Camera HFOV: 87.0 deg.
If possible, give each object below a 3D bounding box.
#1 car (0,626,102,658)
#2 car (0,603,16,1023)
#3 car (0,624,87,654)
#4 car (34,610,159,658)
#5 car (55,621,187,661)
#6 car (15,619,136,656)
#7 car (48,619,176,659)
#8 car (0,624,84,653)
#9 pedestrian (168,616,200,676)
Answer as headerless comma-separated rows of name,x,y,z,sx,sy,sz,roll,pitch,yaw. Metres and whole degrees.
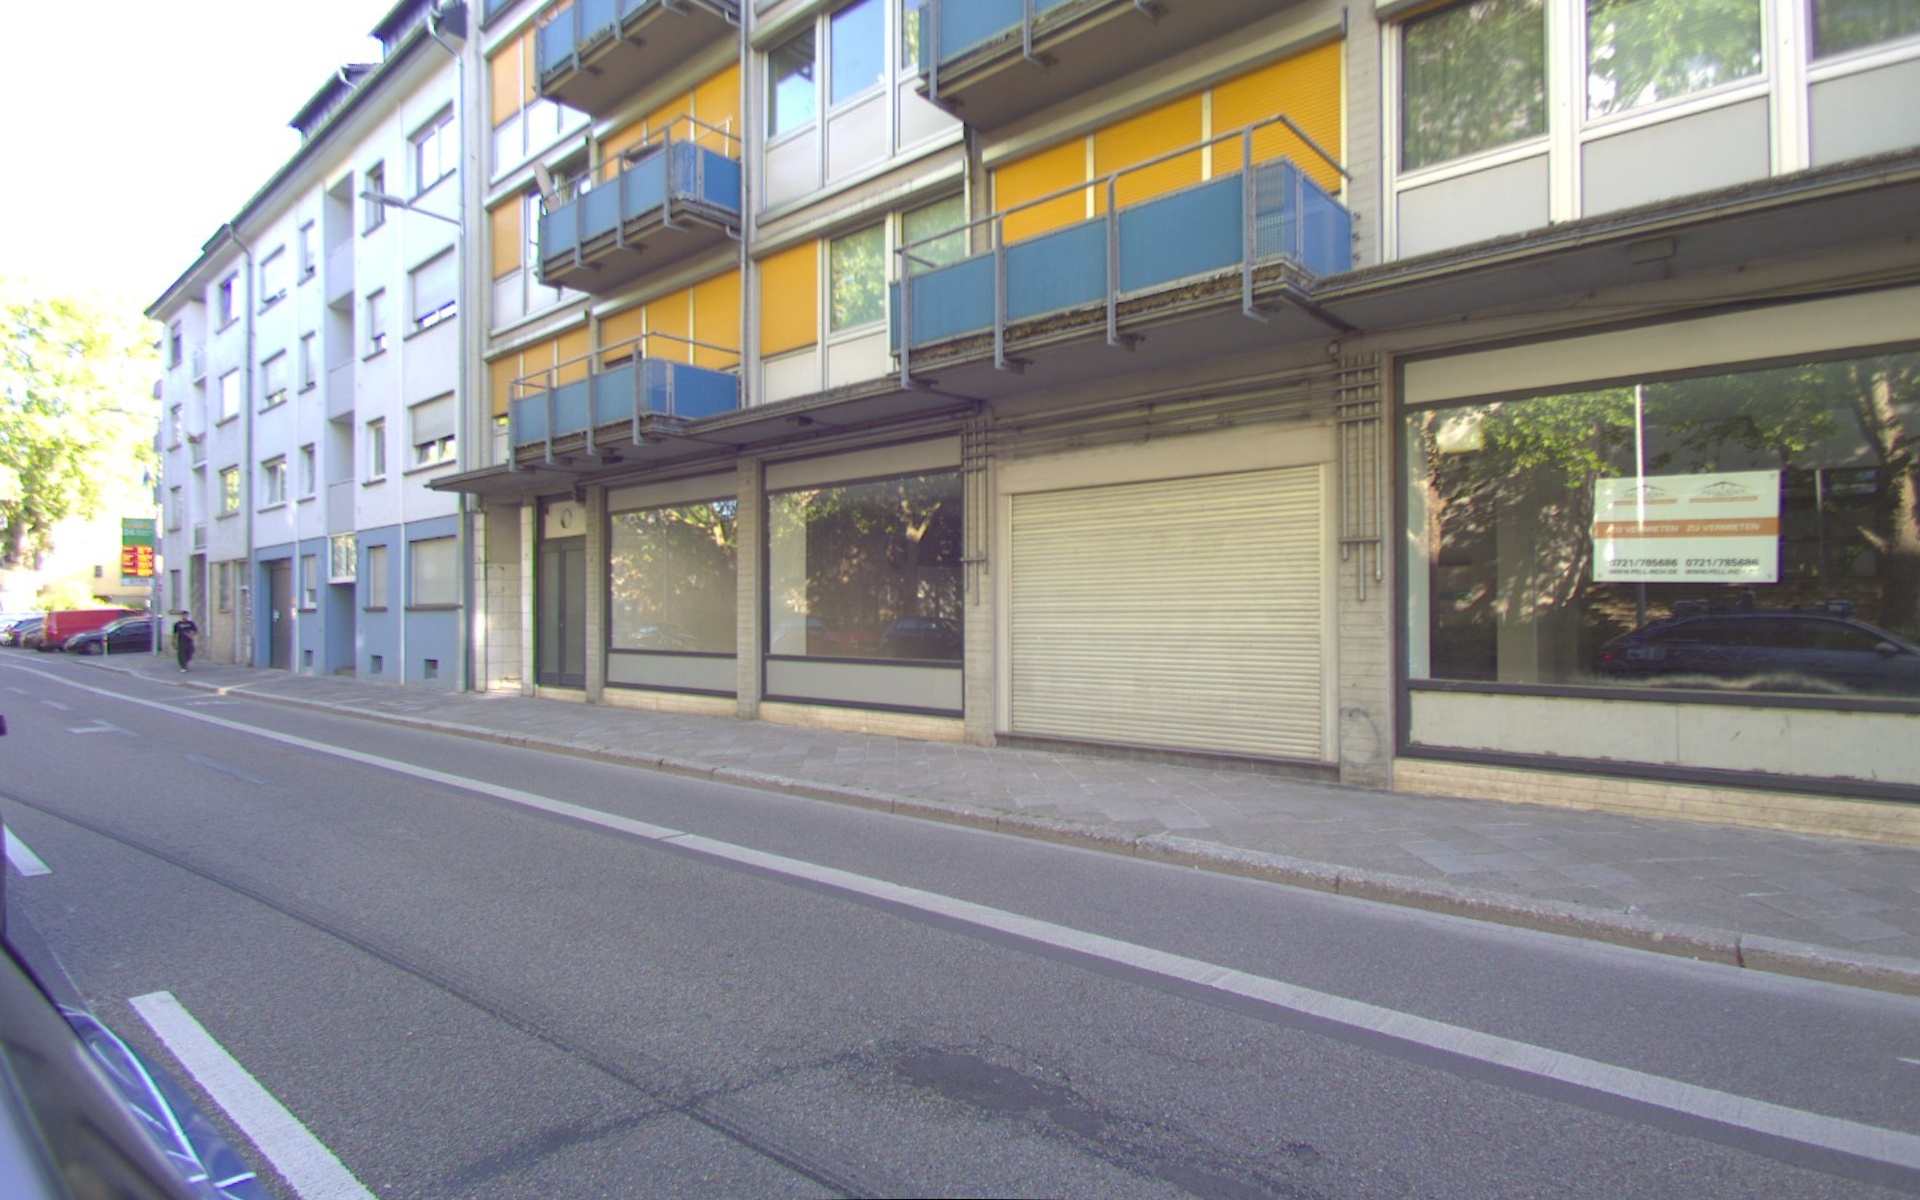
car,-50.464,2.293,56.101,1.652,1.480,4.201,-1,1,41
car,-5.642,0.799,4.402,4.300,1.510,1.826,-1,-1,41
car,-54.497,2.279,59.785,1.652,1.480,4.201,-1,1,41
car,-40.568,1.560,47.615,1.817,1.933,4.202,-1,1,40
car,-36.494,1.745,44.090,1.652,1.411,4.201,-1,1,41
car,-42.757,1.791,49.010,1.652,1.480,4.201,-1,1,41
car,-38.187,1.732,45.653,1.652,1.480,4.201,-1,1,41
car,-55.879,2.300,61.193,1.652,1.480,4.201,-1,1,41
pedestrian,-22.426,1.318,29.248,0.655,1.708,0.604,-2,-1,41
